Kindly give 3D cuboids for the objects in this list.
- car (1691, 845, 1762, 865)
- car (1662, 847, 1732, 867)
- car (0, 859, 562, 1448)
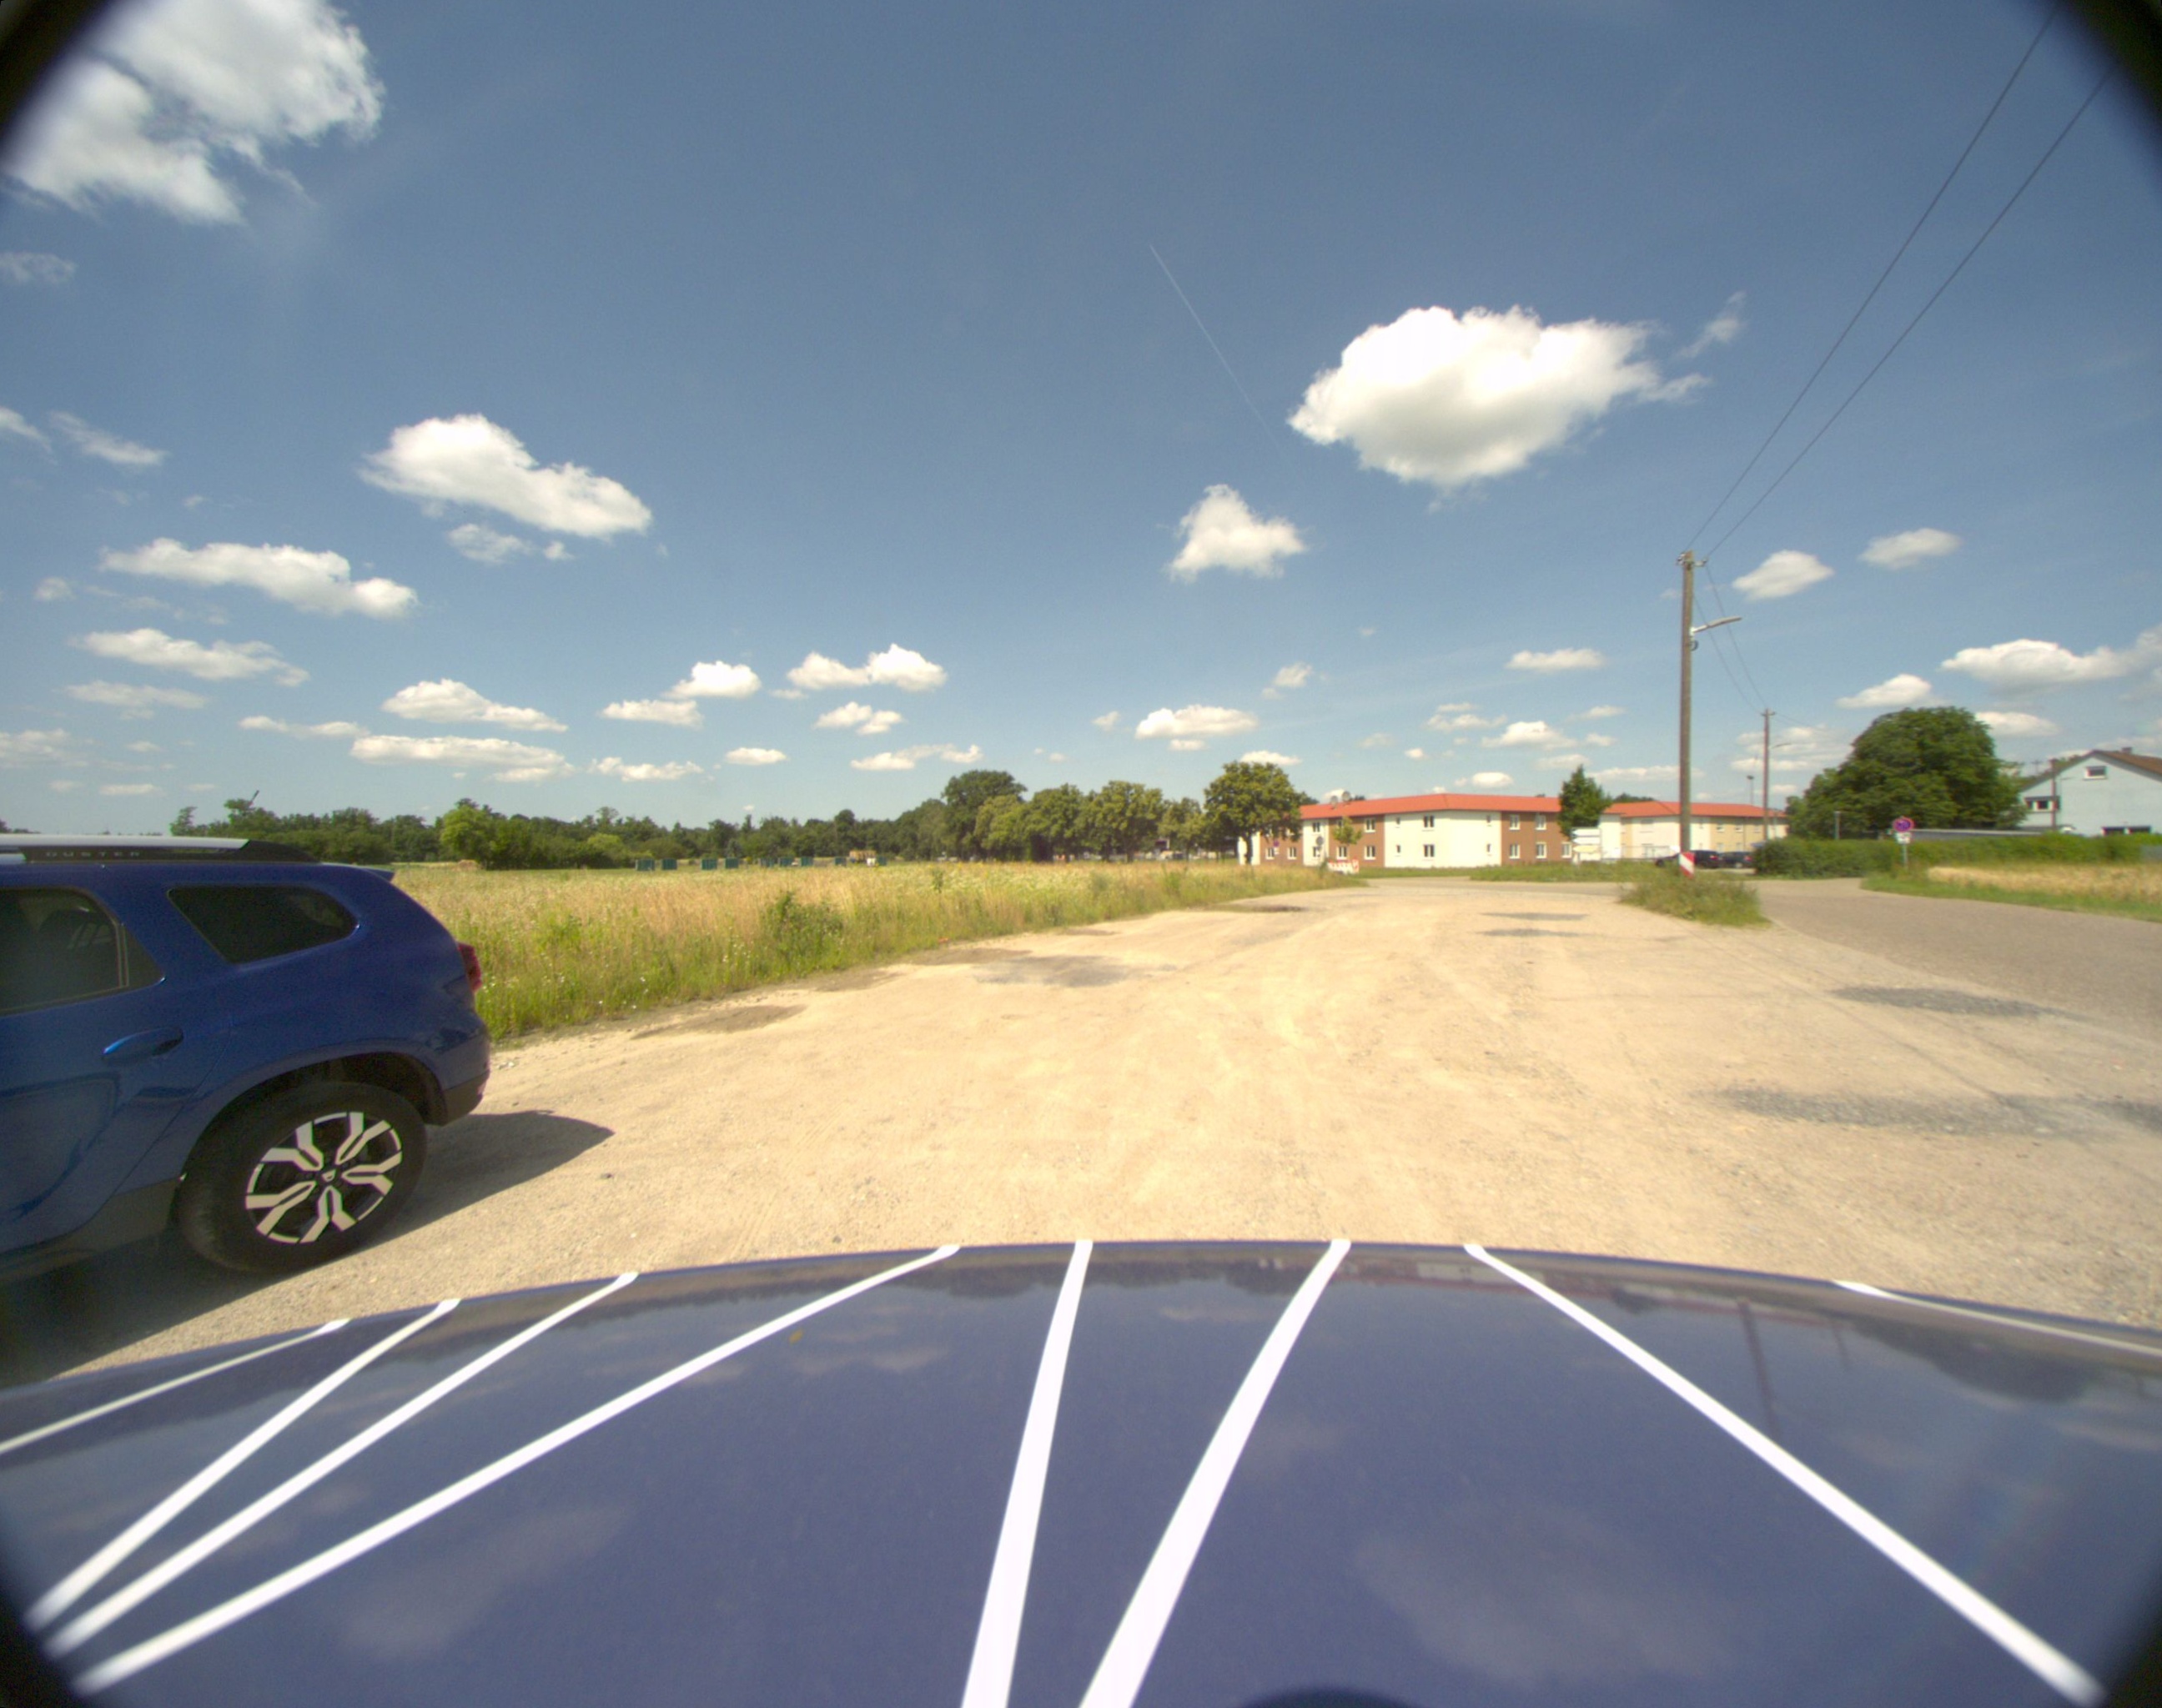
[{"bbox_3d":[55.296,0.078,65.146,2.003,1.605,4.139,0,0,-26],"label":"car"},{"bbox_3d":[51.605,0.235,63.741,2.003,1.605,4.139,0,0,-26],"label":"car"},{"bbox_3d":[-4.207,0.921,1.935,1.860,1.651,4.464,-1,1,19],"label":"car"}]
